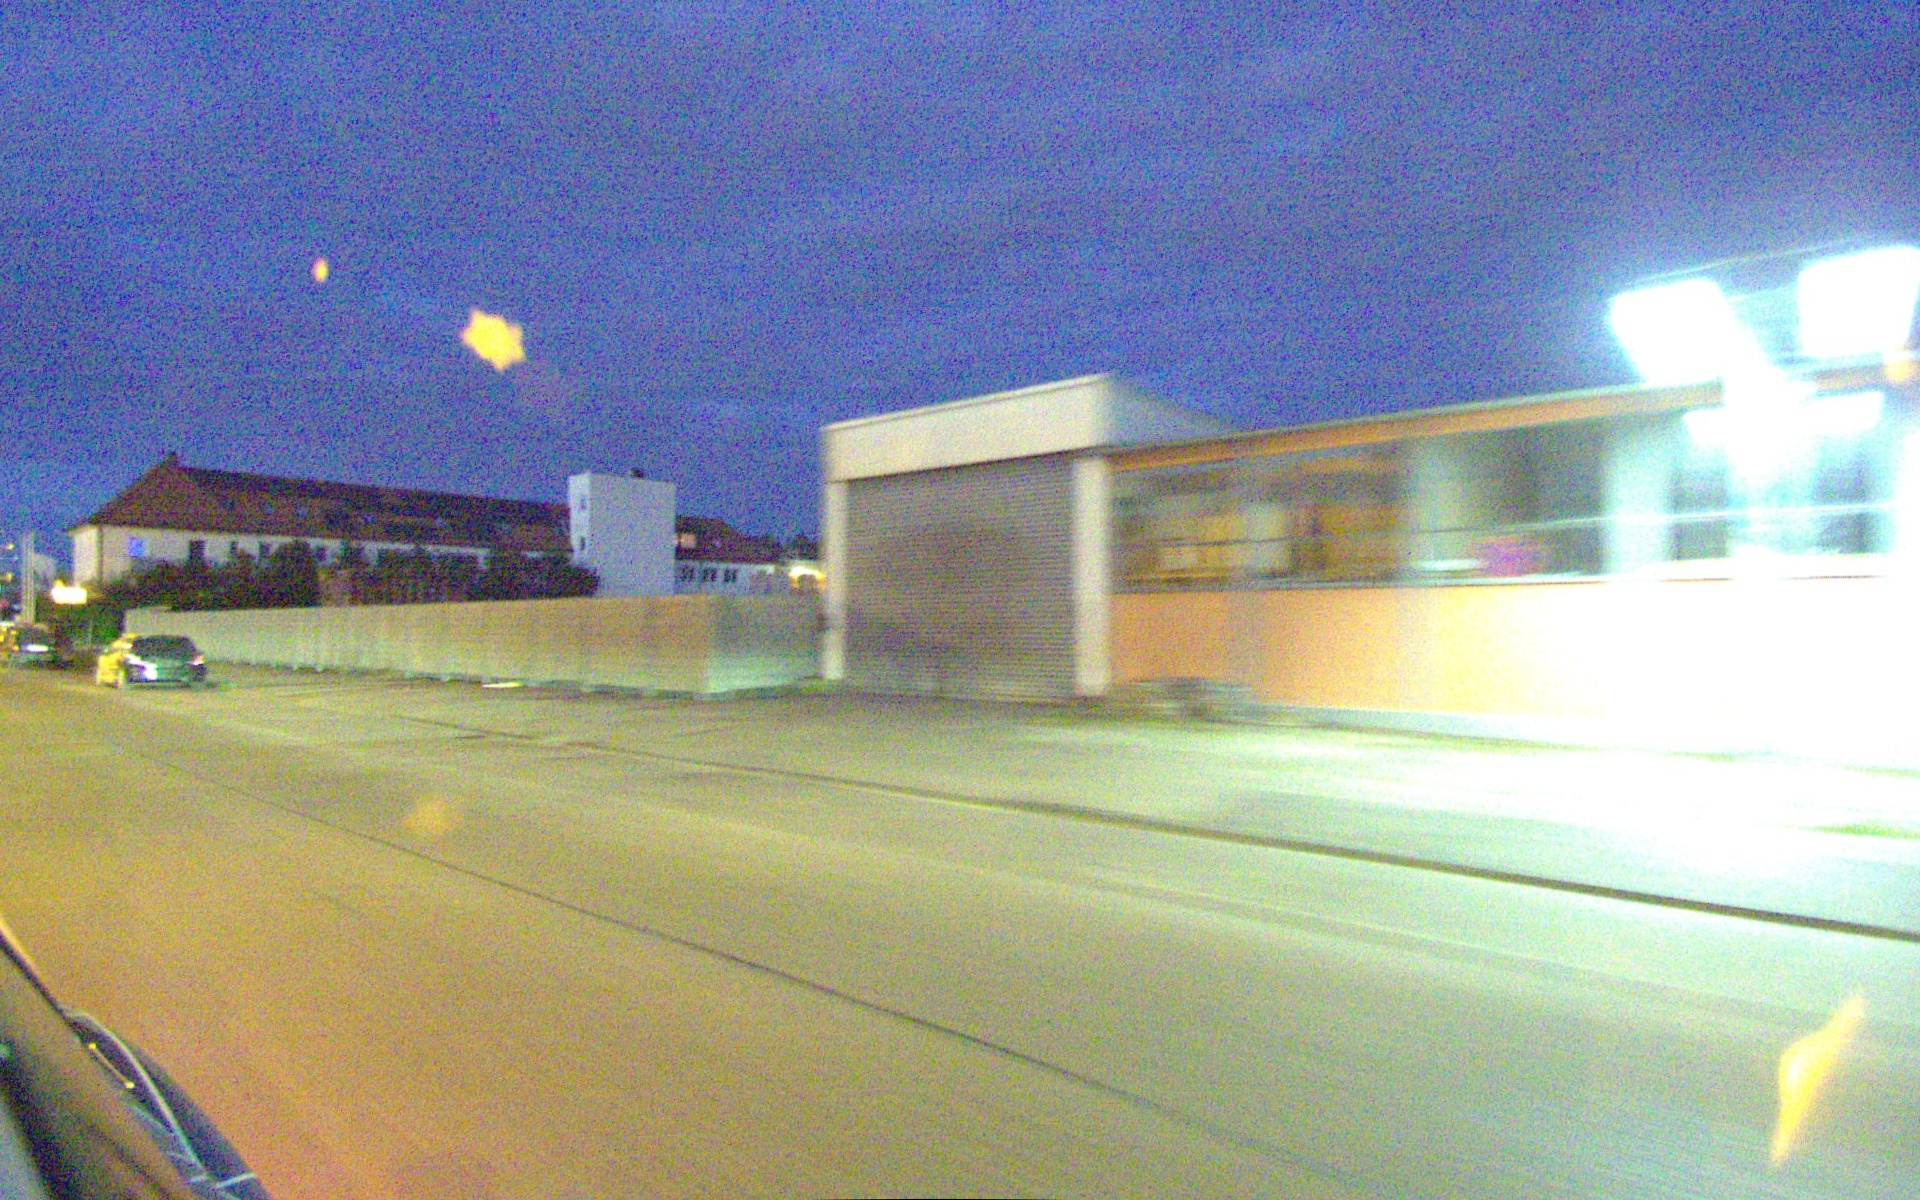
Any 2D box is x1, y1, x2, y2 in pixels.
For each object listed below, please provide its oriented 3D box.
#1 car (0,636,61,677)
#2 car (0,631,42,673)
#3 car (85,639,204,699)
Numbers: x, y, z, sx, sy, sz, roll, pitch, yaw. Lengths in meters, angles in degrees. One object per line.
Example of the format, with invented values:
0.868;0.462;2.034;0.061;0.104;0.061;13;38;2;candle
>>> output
-35.366;2.085;38.226;3.877;1.375;1.669;-1;0;41;car
-39.186;2.109;41.729;3.779;1.612;1.570;-1;0;41;car
-21.118;1.725;26.151;4.308;1.401;1.738;-2;-2;42;car
